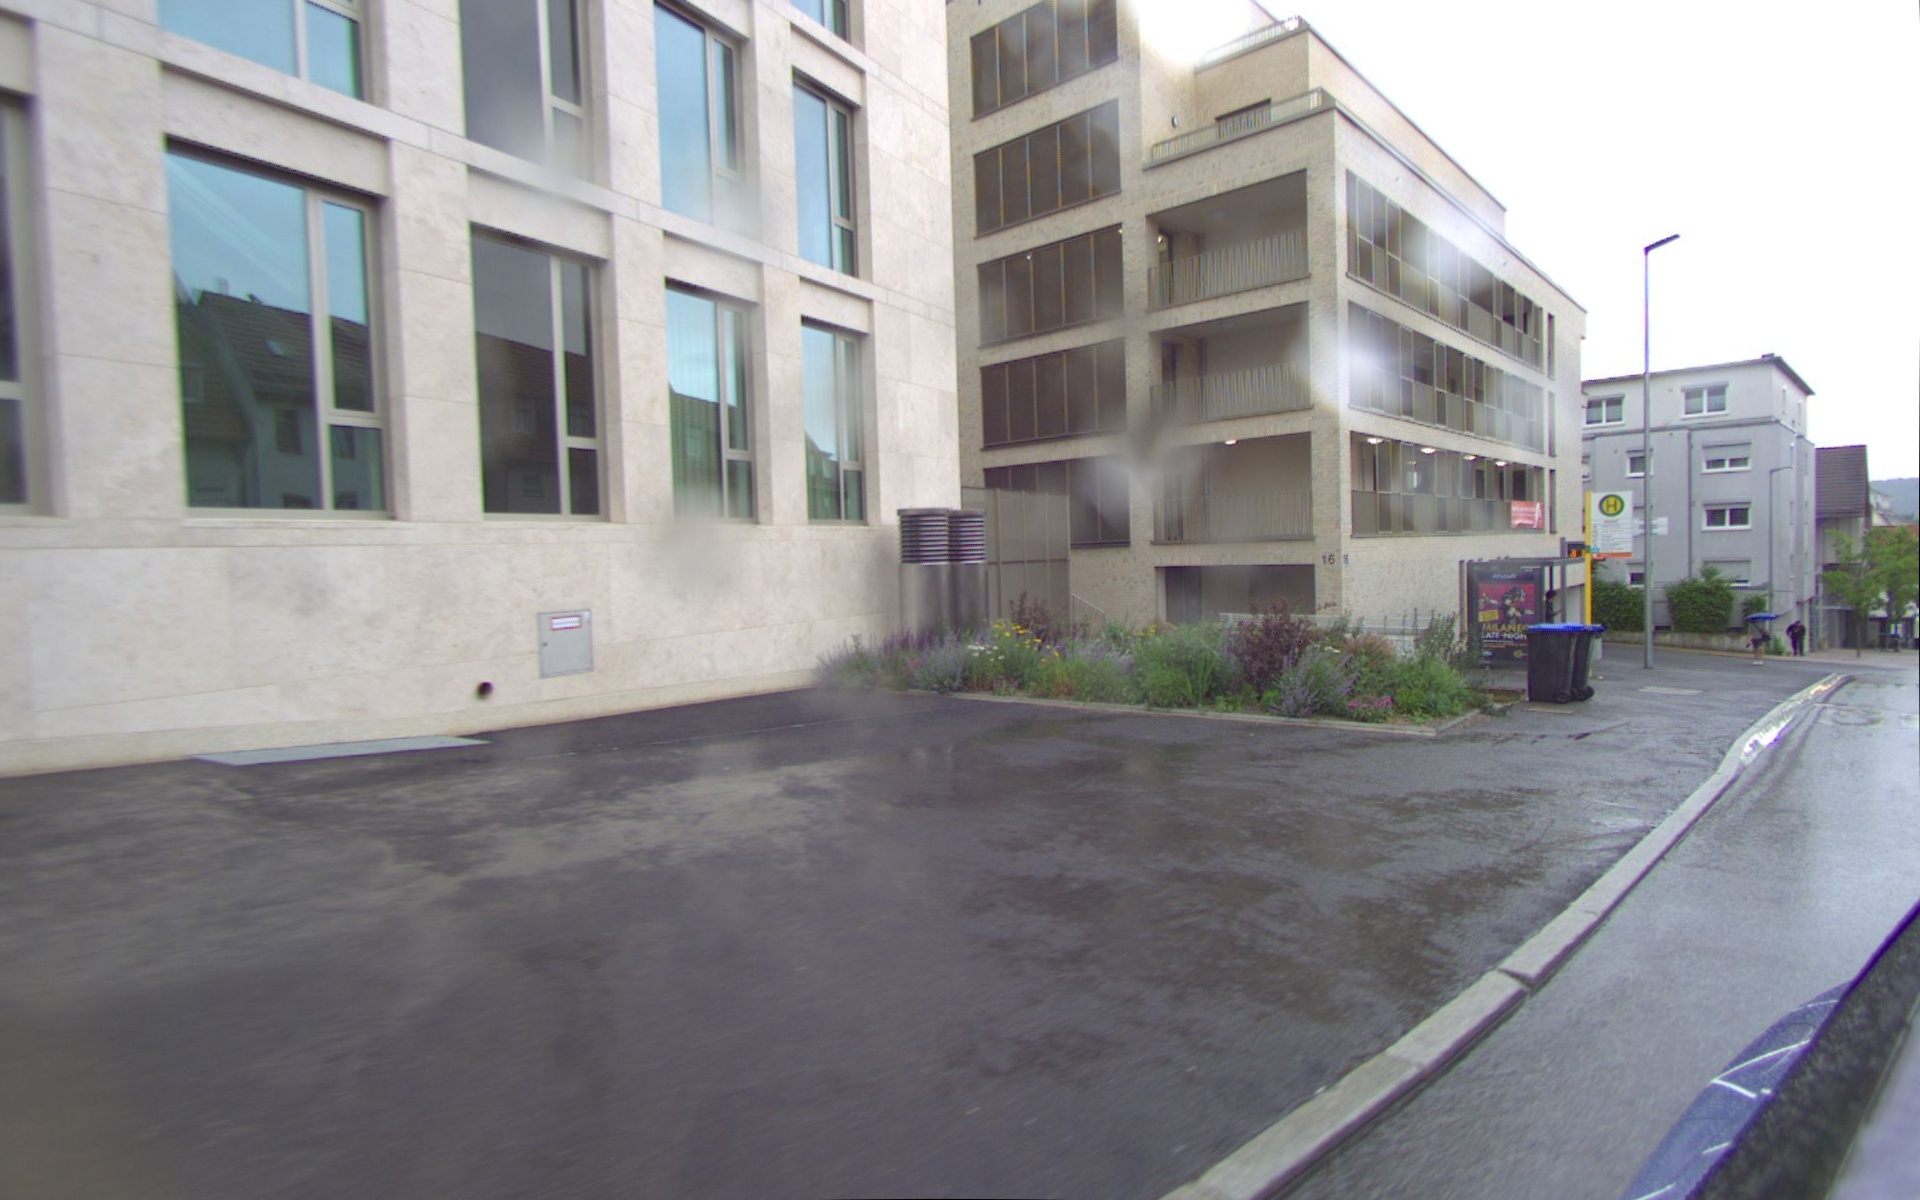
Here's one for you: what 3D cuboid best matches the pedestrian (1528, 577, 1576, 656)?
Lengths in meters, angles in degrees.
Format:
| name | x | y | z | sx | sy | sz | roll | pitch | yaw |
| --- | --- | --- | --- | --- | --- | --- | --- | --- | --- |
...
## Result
| name | x | y | z | sx | sy | sz | roll | pitch | yaw |
| --- | --- | --- | --- | --- | --- | --- | --- | --- | --- |
| pedestrian | 15.181 | 0.419 | 25.938 | 1.004 | 1.964 | 0.783 | 2 | 1 | -45 |

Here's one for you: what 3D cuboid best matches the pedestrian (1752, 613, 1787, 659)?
| name | x | y | z | sx | sy | sz | roll | pitch | yaw |
| --- | --- | --- | --- | --- | --- | --- | --- | --- | --- |
| pedestrian | 28.855 | 1.290 | 36.069 | 1.020 | 1.561 | 0.737 | 2 | 2 | -42 |

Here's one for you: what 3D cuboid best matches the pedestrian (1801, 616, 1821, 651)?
| name | x | y | z | sx | sy | sz | roll | pitch | yaw |
| --- | --- | --- | --- | --- | --- | --- | --- | --- | --- |
| pedestrian | 39.828 | 1.564 | 47.373 | 0.689 | 1.576 | 0.700 | 0 | -2 | 39 |

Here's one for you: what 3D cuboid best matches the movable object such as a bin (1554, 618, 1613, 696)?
| name | x | y | z | sx | sy | sz | roll | pitch | yaw |
| --- | --- | --- | --- | --- | --- | --- | --- | --- | --- |
| movable object such as a bin | 8.920 | 0.799 | 14.470 | 0.596 | 1.075 | 0.569 | 1 | -1 | 45 |

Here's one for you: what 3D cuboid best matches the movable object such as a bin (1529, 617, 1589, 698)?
| name | x | y | z | sx | sy | sz | roll | pitch | yaw |
| --- | --- | --- | --- | --- | --- | --- | --- | --- | --- |
| movable object such as a bin | 8.336 | 0.783 | 14.079 | 0.596 | 1.075 | 0.569 | 1 | -1 | 45 |

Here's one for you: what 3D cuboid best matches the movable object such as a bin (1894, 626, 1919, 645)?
| name | x | y | z | sx | sy | sz | roll | pitch | yaw |
| --- | --- | --- | --- | --- | --- | --- | --- | --- | --- |
| movable object such as a bin | 70.086 | 2.640 | 74.929 | 1.152 | 1.352 | 1.236 | 2 | 0 | -43 |
